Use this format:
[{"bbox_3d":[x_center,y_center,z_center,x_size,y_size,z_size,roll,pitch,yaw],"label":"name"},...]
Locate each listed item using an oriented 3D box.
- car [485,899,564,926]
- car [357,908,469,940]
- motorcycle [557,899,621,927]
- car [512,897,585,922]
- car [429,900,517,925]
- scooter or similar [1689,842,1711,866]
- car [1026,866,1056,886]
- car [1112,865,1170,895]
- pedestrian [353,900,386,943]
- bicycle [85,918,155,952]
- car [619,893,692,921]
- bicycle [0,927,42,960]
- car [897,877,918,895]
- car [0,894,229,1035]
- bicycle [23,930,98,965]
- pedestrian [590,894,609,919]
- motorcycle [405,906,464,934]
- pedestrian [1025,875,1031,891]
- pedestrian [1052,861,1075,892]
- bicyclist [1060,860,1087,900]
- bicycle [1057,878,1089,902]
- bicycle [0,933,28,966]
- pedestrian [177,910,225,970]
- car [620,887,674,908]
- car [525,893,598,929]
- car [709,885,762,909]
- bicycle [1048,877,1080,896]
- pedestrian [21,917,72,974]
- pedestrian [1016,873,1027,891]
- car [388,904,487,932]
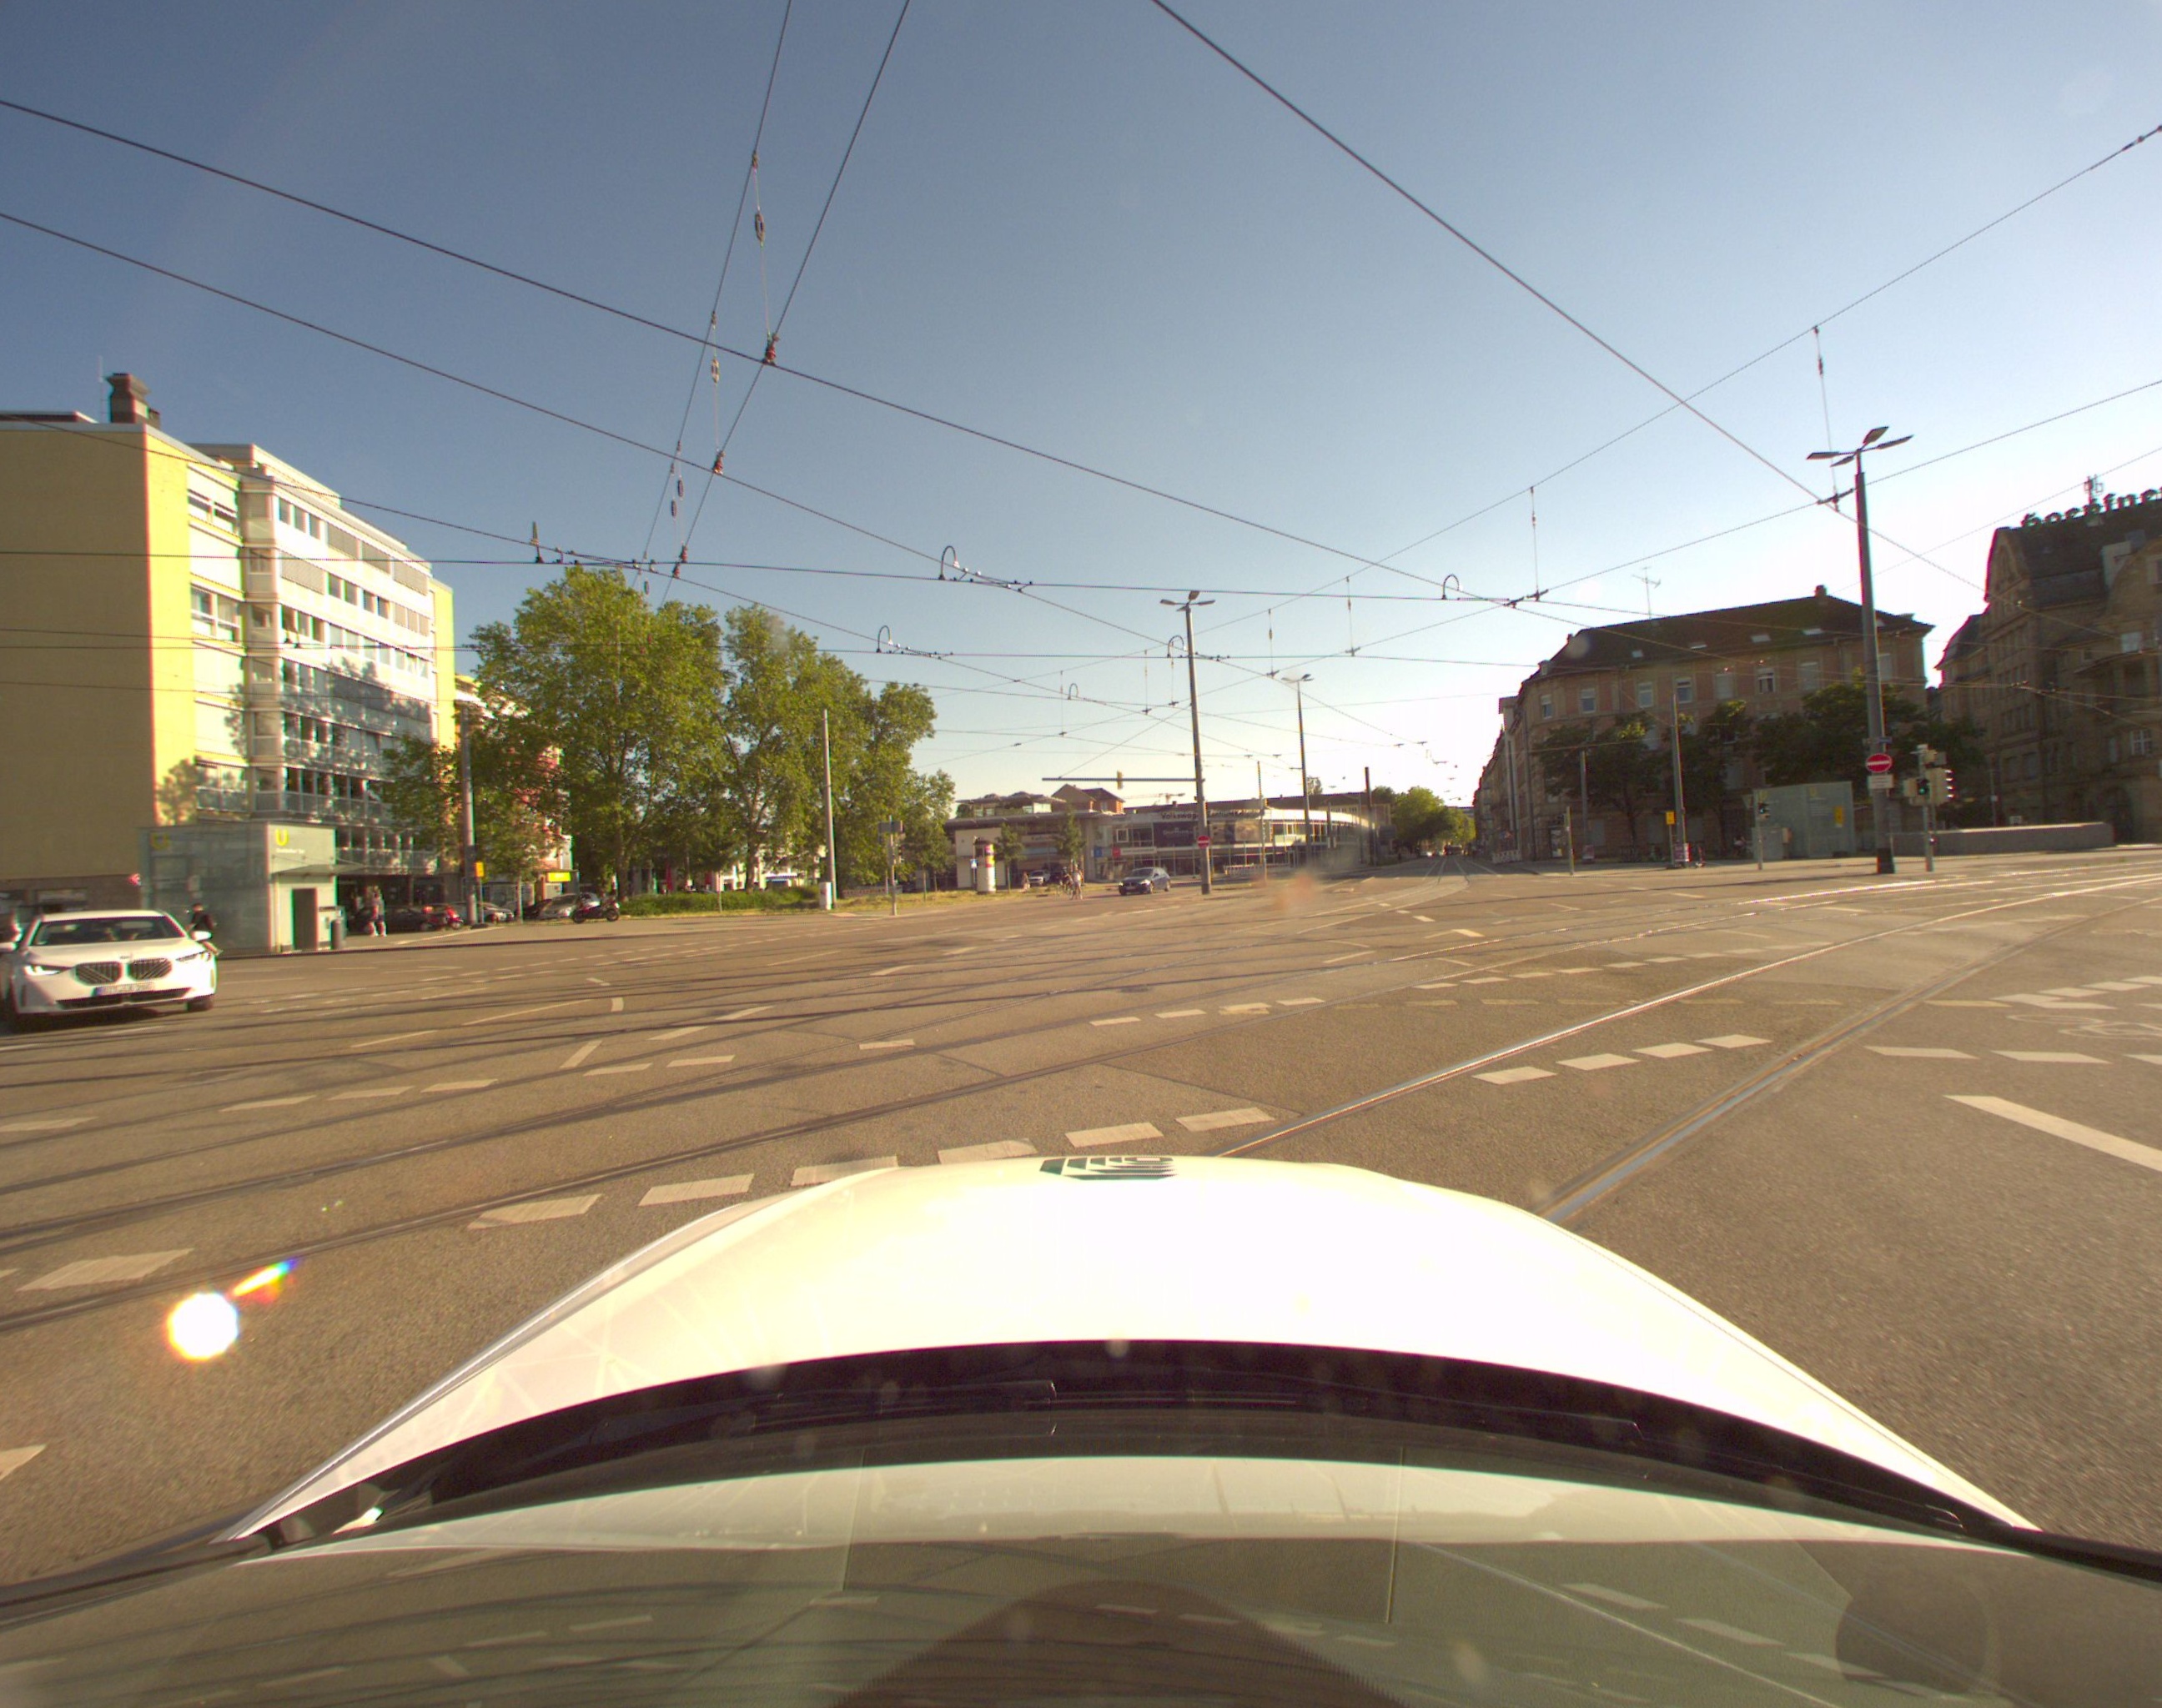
[{"bbox_3d":[-37.772,3.940,55.334,3.983,1.635,1.852,0,-1,-7],"label":"car"},{"bbox_3d":[-35.580,3.692,43.474,4.214,1.483,1.850,0,-1,-11],"label":"car"},{"bbox_3d":[-22.159,2.636,36.735,2.284,1.074,1.033,-2,0,-23],"label":"motorcycle"},{"bbox_3d":[-38.241,3.970,58.559,3.983,1.635,1.852,0,-1,-7],"label":"car"},{"bbox_3d":[-38.060,3.657,51.069,3.983,1.420,1.852,0,-1,-7],"label":"car"},{"bbox_3d":[31.349,-0.001,41.239,0.721,1.201,1.454,-3,-1,44],"label":"scooter or similar"},{"bbox_3d":[-4.155,2.303,84.809,1.979,2.014,4.015,-1,-1,14],"label":"car"},{"bbox_3d":[3.364,1.384,45.003,1.976,1.453,4.021,-3,-1,22],"label":"car"},{"bbox_3d":[-29.827,2.838,34.153,0.690,1.728,0.756,-3,-1,14],"label":"pedestrian"},{"bbox_3d":[-40.922,3.456,34.690,1.895,1.248,0.657,-3,0,-11],"label":"bicycle"},{"bbox_3d":[-26.832,3.325,51.460,4.010,1.510,1.784,-2,0,-28],"label":"car"},{"bbox_3d":[-45.190,3.791,34.014,2.291,1.248,0.657,-3,0,-10],"label":"bicycle"},{"bbox_3d":[-18.647,3.416,87.361,1.799,1.510,3.978,0,3,-17],"label":"car"},{"bbox_3d":[-15.478,1.646,12.882,4.562,1.746,1.954,-4,-1,34],"label":"car"},{"bbox_3d":[-42.096,3.842,33.607,1.895,1.248,0.657,-3,0,-11],"label":"bicycle"},{"bbox_3d":[-34.654,3.794,58.592,0.883,1.737,0.902,0,-1,-5],"label":"pedestrian"},{"bbox_3d":[-28.694,2.933,36.165,1.798,1.046,0.878,-4,0,-10],"label":"motorcycle"},{"bbox_3d":[-4.564,2.499,70.210,0.408,1.315,0.574,-3,-1,5],"label":"pedestrian"},{"bbox_3d":[-1.124,1.448,52.559,1.021,2.014,1.277,-1,-1,24],"label":"pedestrian"},{"bbox_3d":[-0.381,1.388,43.638,1.024,2.014,1.148,-5,-2,13],"label":"bicyclist"},{"bbox_3d":[-0.410,1.891,43.535,1.024,1.123,2.540,-5,-2,13],"label":"bicycle"},{"bbox_3d":[-44.833,3.986,33.307,2.291,1.248,0.657,-3,0,-9],"label":"bicycle"},{"bbox_3d":[-27.178,2.630,25.173,0.874,1.728,0.786,-2,-2,-39],"label":"pedestrian"},{"bbox_3d":[-40.194,4.019,75.489,3.983,1.780,1.852,0,-1,-7],"label":"car"},{"bbox_3d":[-30.437,3.308,47.880,1.914,1.698,3.990,-5,0,-7],"label":"car"},{"bbox_3d":[-30.931,3.867,73.056,3.986,1.999,1.850,0,-1,-9],"label":"car"},{"bbox_3d":[-1.075,2.071,52.659,1.021,1.123,2.545,-1,-1,24],"label":"bicycle"},{"bbox_3d":[-33.394,2.952,26.294,0.754,1.728,0.692,-2,-2,-24],"label":"pedestrian"},{"bbox_3d":[-5.155,2.395,70.189,0.718,1.515,0.833,-3,-1,5],"label":"pedestrian"},{"bbox_3d":[-36.348,3.604,46.124,3.983,1.420,1.852,0,-1,-7],"label":"car"}]
